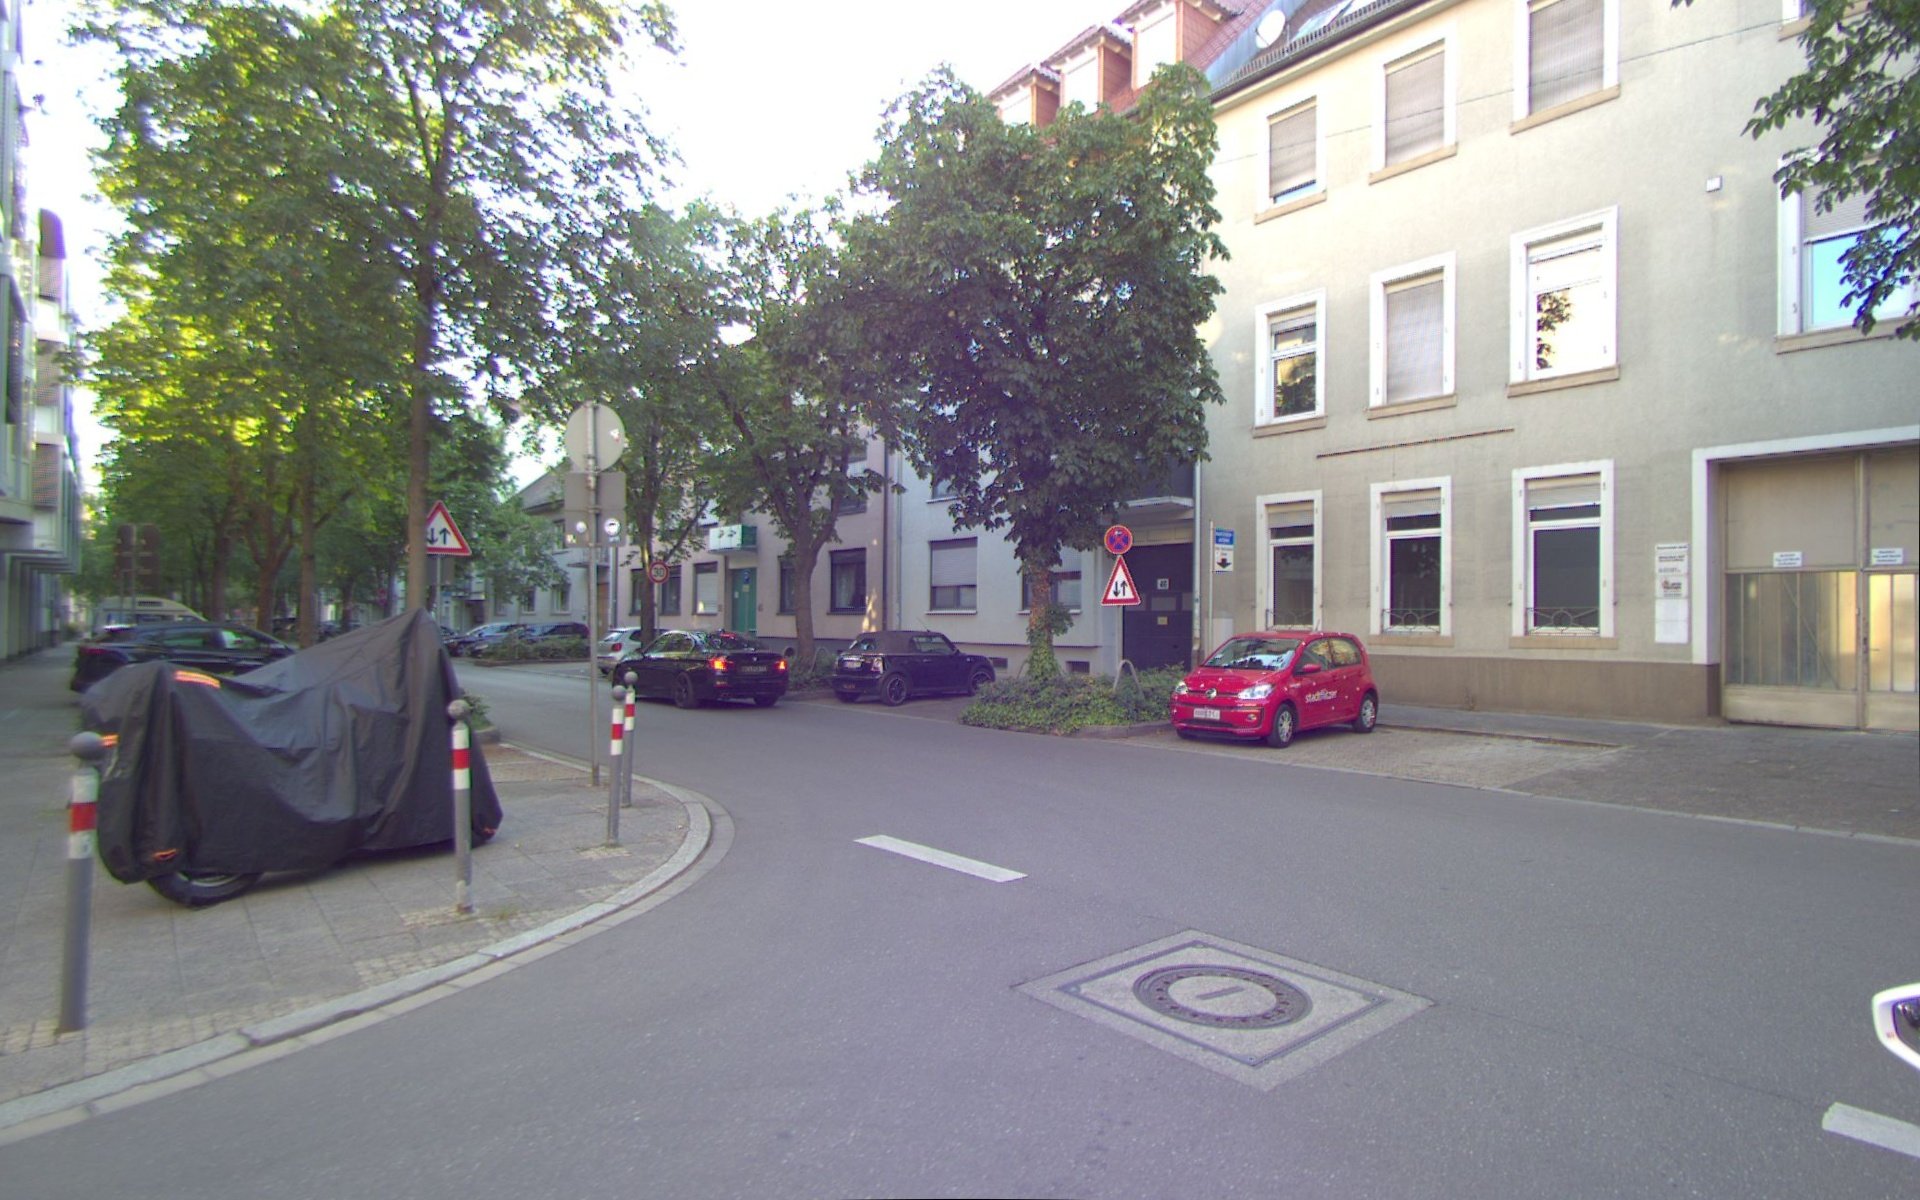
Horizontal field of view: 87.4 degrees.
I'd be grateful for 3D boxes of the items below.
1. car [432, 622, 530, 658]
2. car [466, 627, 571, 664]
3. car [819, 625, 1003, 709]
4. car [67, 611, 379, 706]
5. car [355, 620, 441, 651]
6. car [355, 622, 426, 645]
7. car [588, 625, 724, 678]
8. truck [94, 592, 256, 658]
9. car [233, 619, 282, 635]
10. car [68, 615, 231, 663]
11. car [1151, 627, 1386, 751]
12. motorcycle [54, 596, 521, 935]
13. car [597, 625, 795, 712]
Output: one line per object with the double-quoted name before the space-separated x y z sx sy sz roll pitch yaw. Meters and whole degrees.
"car" -21.905 1.798 45.993 3.776 1.550 1.546 1 -1 -42
"car" -17.838 1.809 40.661 3.642 1.411 1.546 1 -1 -42
"car" -0.954 1.313 20.812 1.605 1.447 3.691 -1 0 45
"car" -13.162 1.038 18.146 4.337 1.529 1.813 3 -3 -41
"car" -28.947 1.826 51.804 3.642 1.557 1.546 2 -2 -42
"car" -35.680 2.082 62.949 3.642 1.411 1.546 2 -2 -42
"car" -9.121 1.510 30.307 3.642 1.498 1.546 1 -1 -42
"truck" -31.575 1.045 40.548 4.974 2.473 1.894 3 -2 -39
"car" -65.438 2.497 93.597 3.642 1.411 1.546 2 -2 -42
"car" -27.037 1.324 33.612 4.113 1.491 1.621 3 -3 -41
"car" 4.422 1.140 14.150 3.641 1.495 1.546 1 -1 -42
"motorcycle" -3.690 0.797 5.788 0.657 1.576 2.159 0 -1 29
"car" -5.232 1.236 19.491 1.756 1.469 4.609 2 -2 -43
